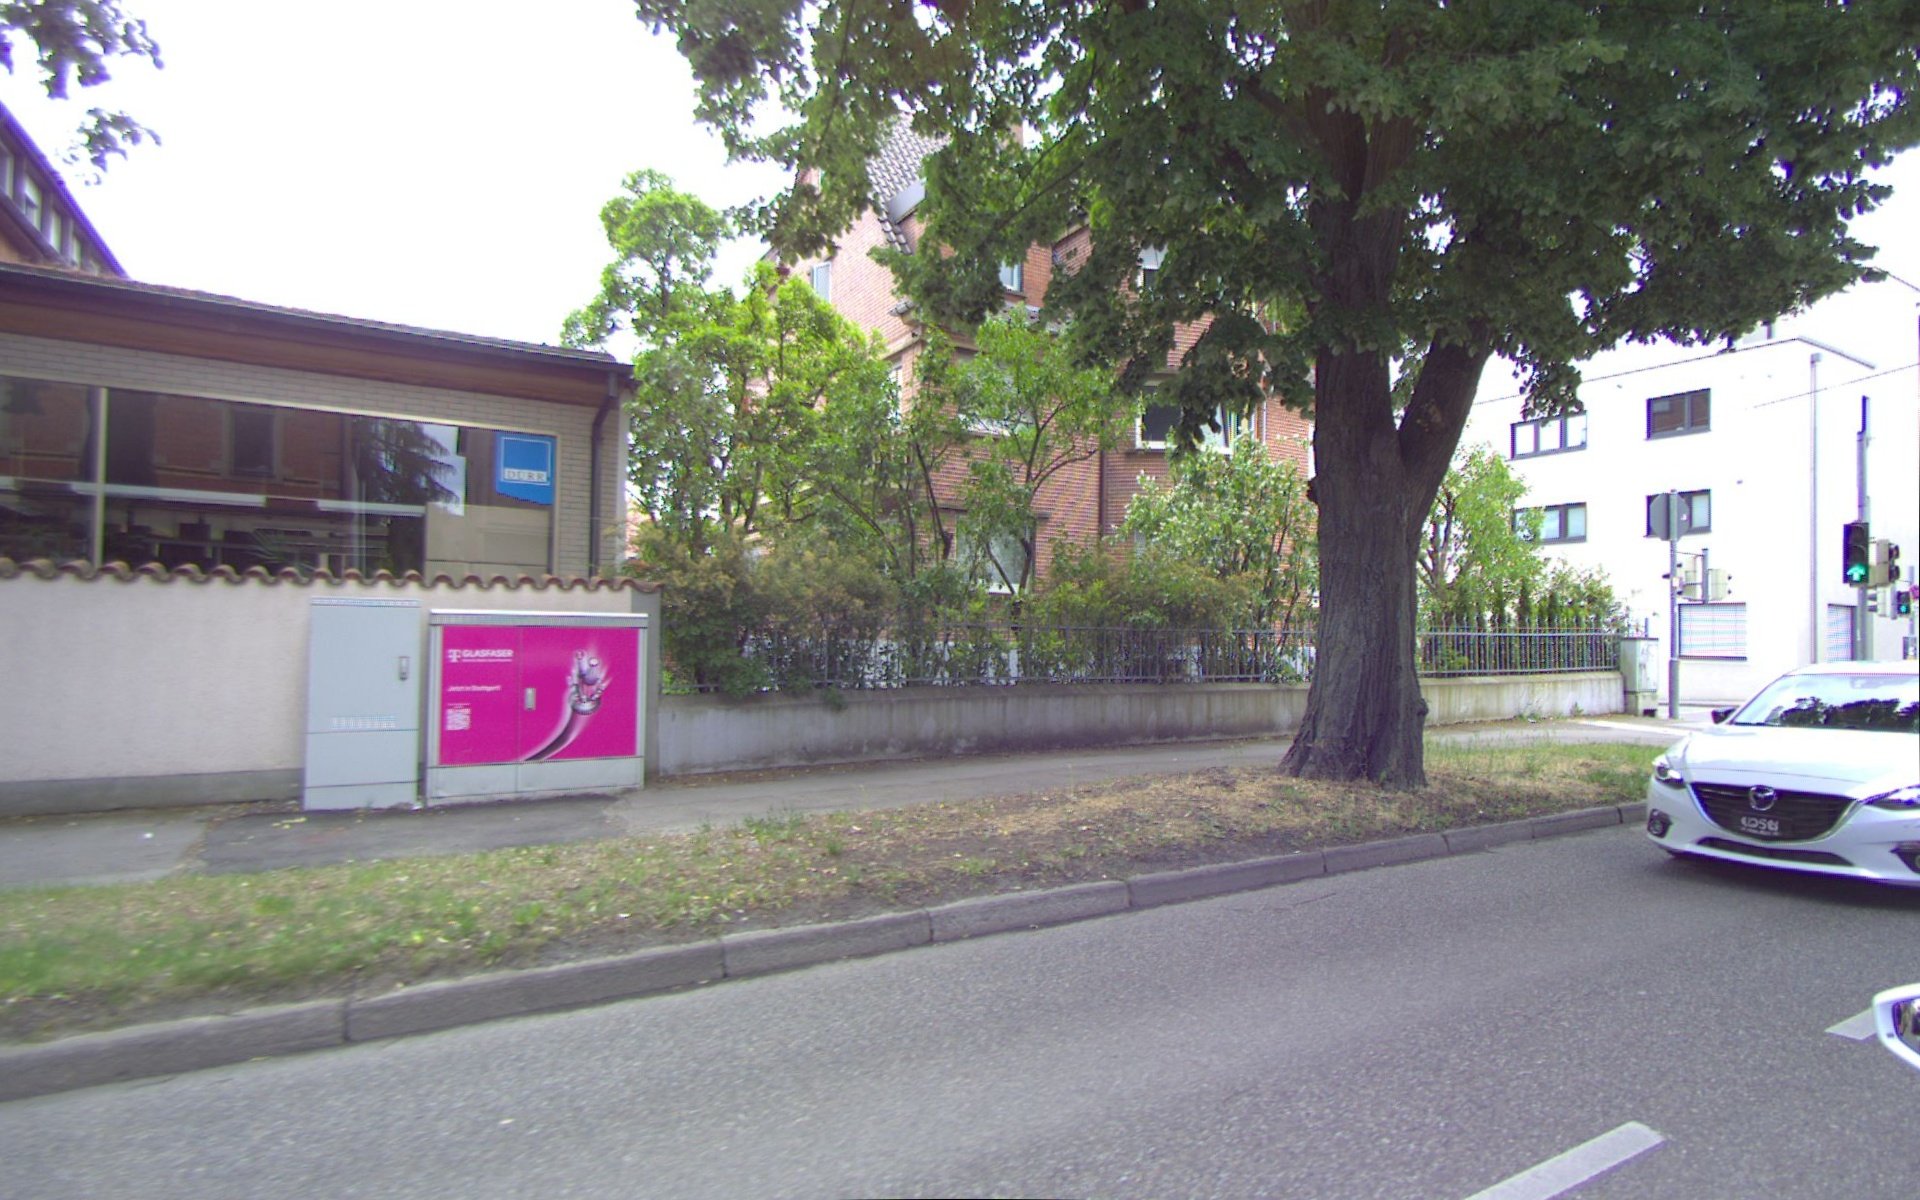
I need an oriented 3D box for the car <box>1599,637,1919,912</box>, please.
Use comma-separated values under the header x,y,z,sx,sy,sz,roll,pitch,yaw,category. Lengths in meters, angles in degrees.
x,y,z,sx,sy,sz,roll,pitch,yaw,category
6.647,1.073,7.182,4.177,1.488,1.759,2,-5,-30,car
